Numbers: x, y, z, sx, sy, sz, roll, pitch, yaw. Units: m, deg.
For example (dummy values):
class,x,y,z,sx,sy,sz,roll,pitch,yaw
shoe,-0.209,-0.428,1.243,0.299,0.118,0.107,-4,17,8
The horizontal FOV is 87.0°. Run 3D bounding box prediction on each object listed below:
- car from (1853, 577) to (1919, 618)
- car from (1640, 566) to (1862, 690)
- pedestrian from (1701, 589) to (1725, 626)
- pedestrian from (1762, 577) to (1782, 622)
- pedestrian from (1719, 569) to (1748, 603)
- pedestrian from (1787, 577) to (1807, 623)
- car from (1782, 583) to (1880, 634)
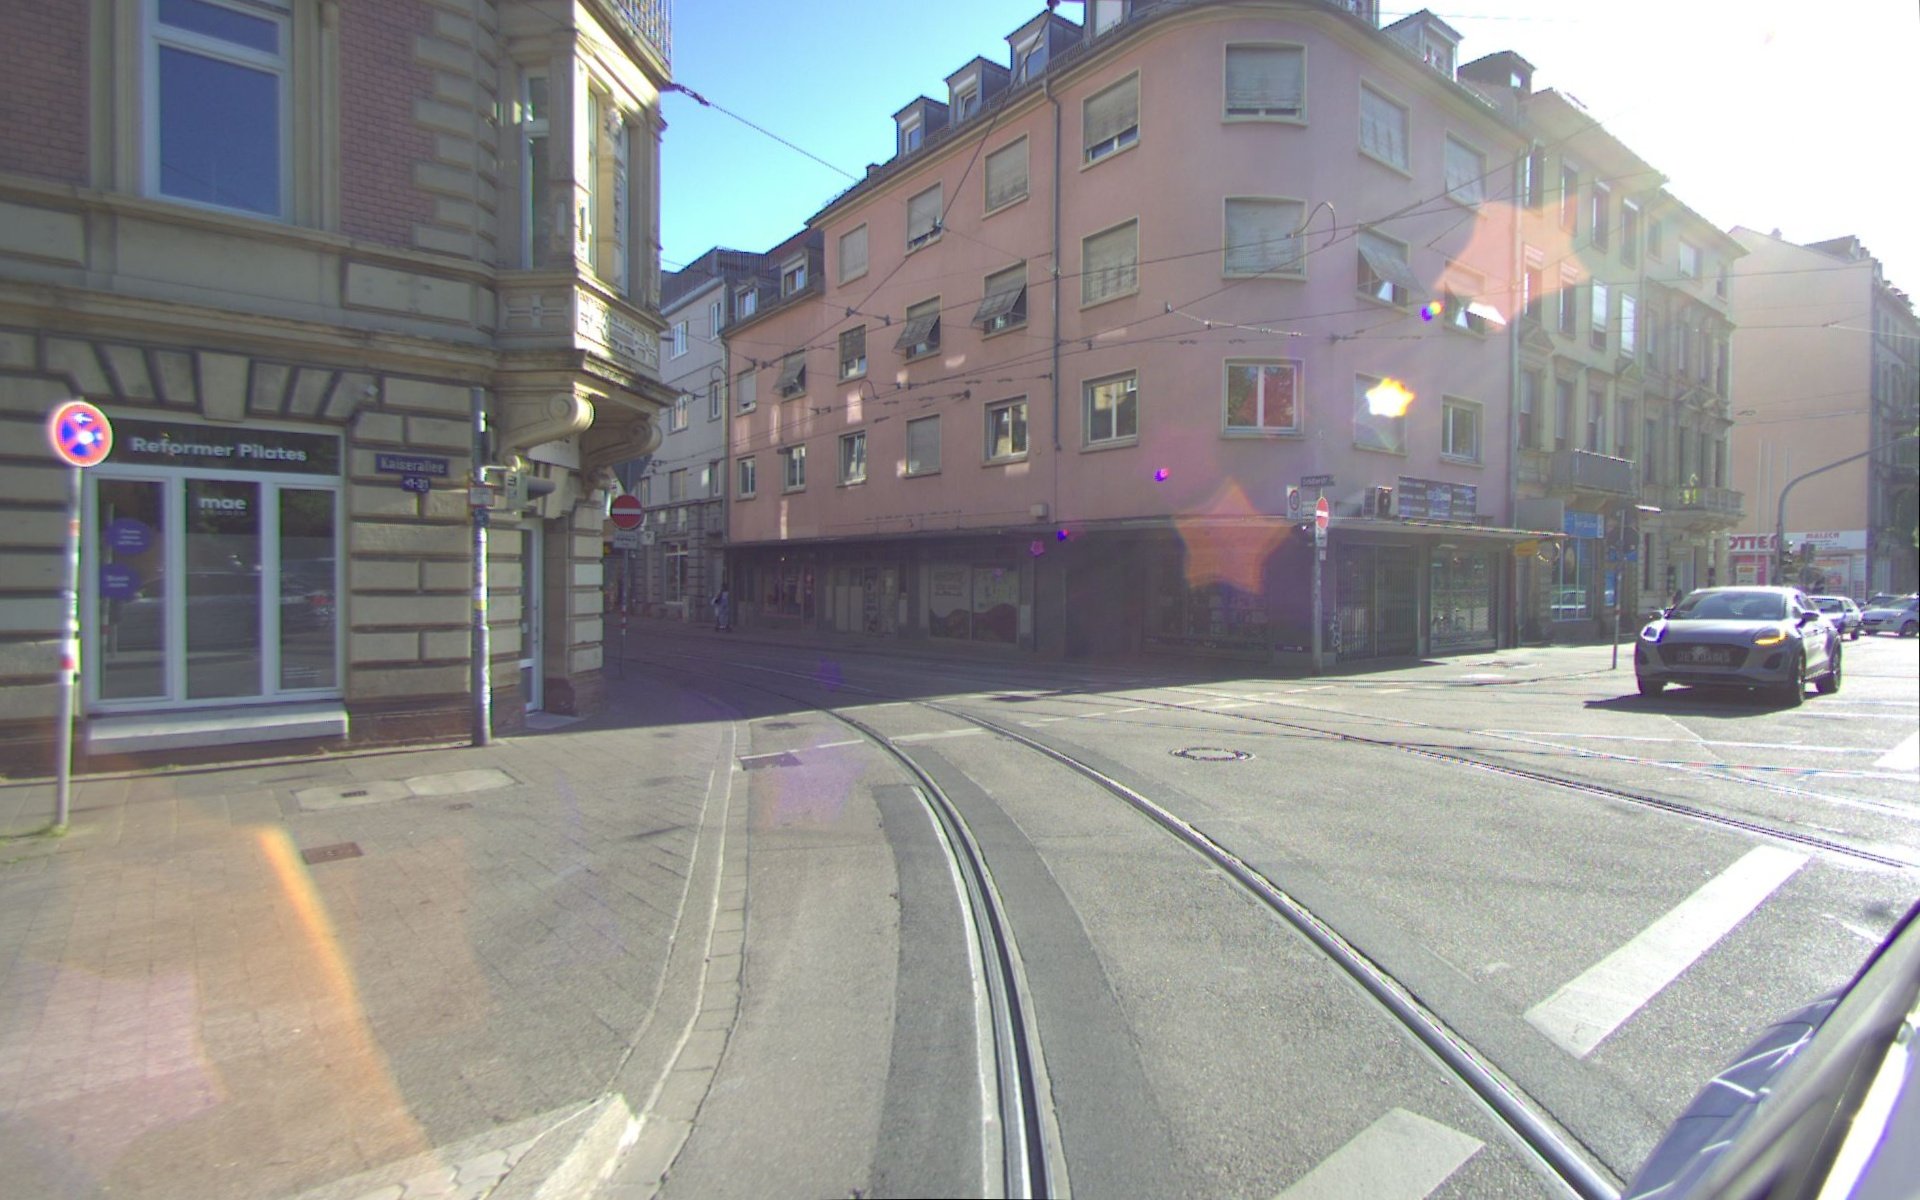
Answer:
class,x,y,z,sx,sy,sz,roll,pitch,yaw
car,35.737,-0.114,37.335,3.924,1.469,1.817,-1,-1,0
car,11.119,0.336,14.138,3.902,1.500,1.658,-1,-1,-40
pedestrian,26.280,0.257,35.335,0.647,1.275,0.495,-1,0,-36
pedestrian,32.432,-0.012,40.420,0.648,1.784,0.495,-1,0,-39
pedestrian,27.605,-0.506,36.124,0.485,1.185,0.661,-1,0,-24
pedestrian,32.934,-0.006,39.823,0.648,1.784,0.495,-1,0,-39
car,28.518,0.230,33.106,3.928,1.537,1.739,-1,3,-39
